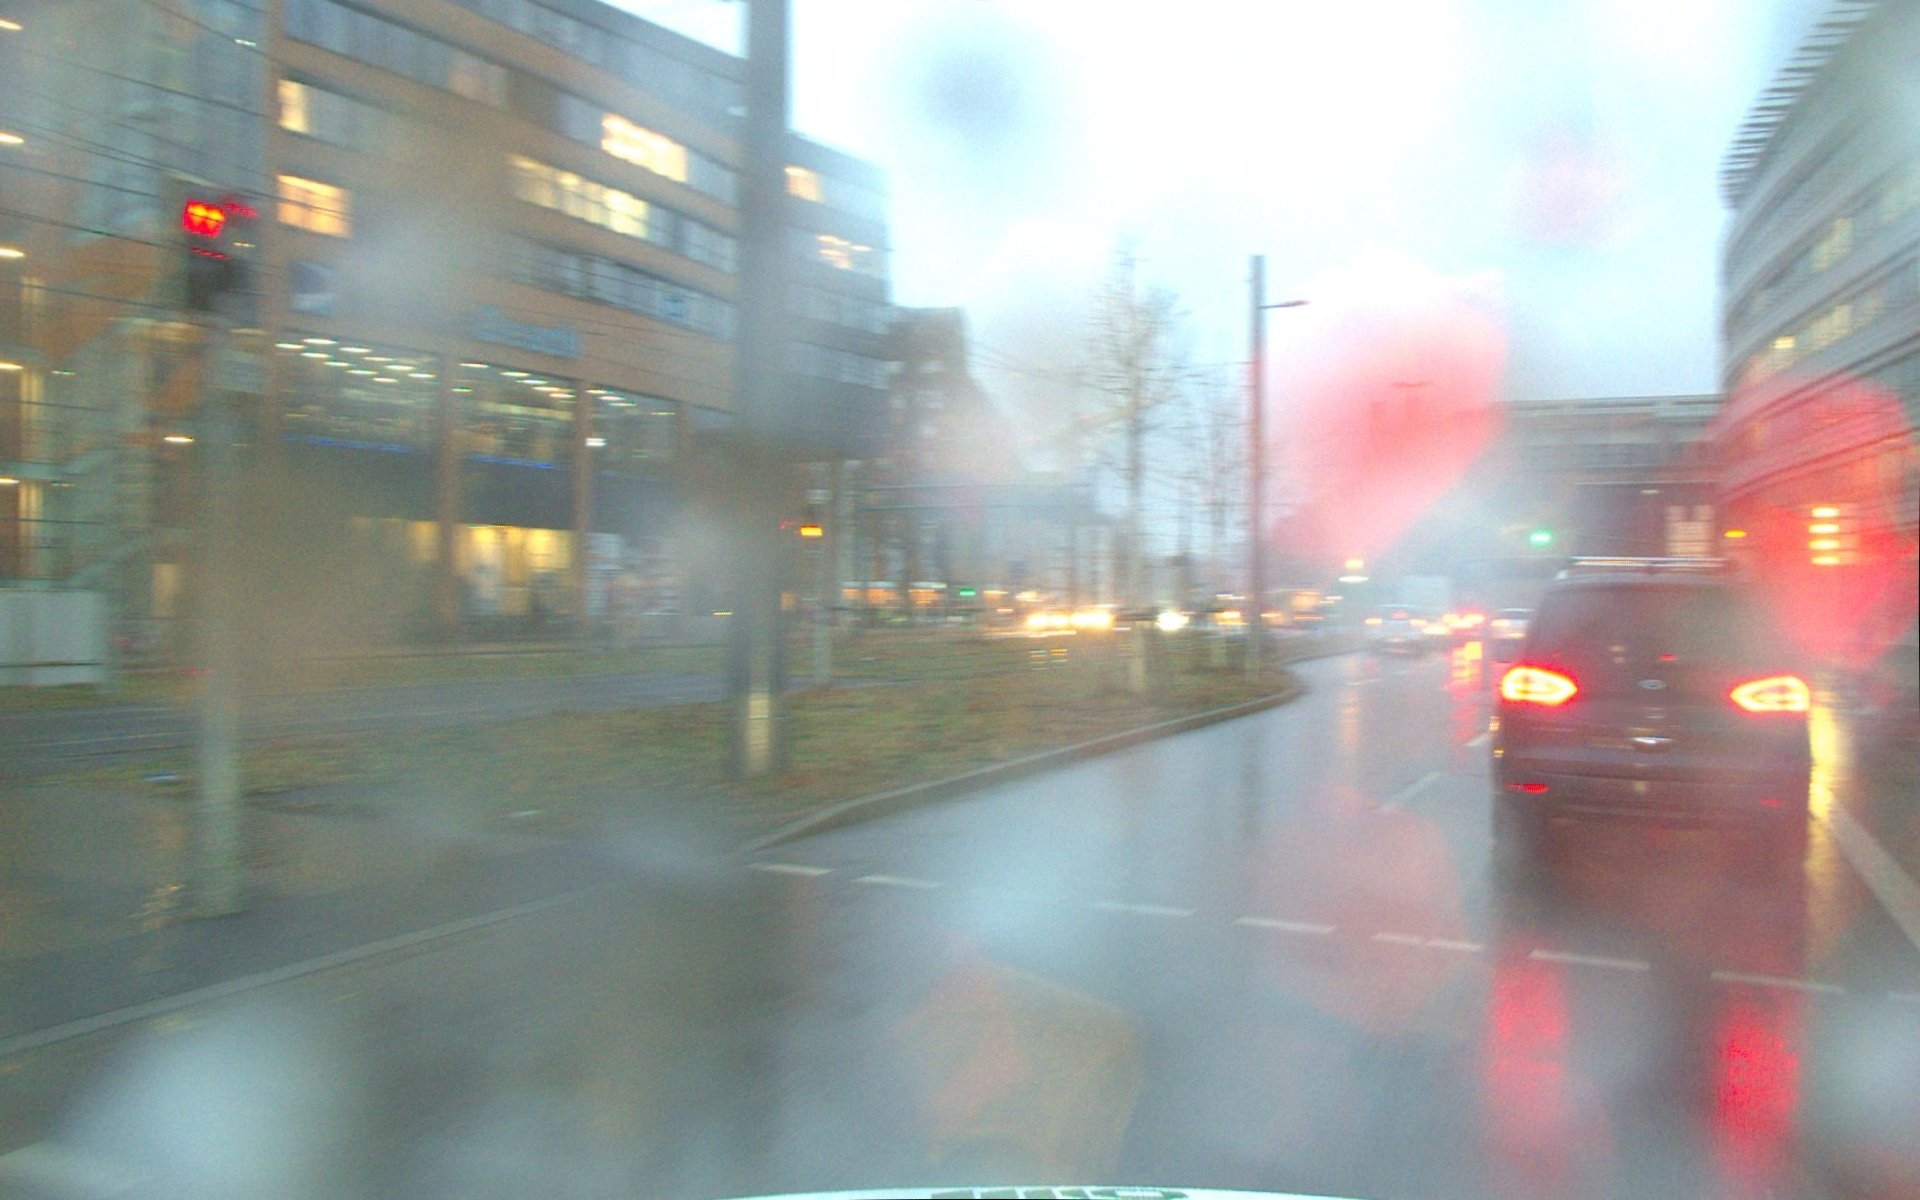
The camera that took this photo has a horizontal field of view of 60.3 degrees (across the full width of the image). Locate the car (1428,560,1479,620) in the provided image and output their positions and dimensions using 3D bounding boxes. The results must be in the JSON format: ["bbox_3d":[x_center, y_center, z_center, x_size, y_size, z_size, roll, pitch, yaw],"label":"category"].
[{"bbox_3d":[24.561,-0.440,82.374,2.305,2.876,6.362,0,0,17],"label":"car"}]

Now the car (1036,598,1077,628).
[{"bbox_3d":[4.930,0.654,83.790,1.776,1.467,3.959,0,0,8],"label":"car"}]

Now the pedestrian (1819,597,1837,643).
[{"bbox_3d":[32.547,0.762,62.022,0.520,1.712,0.745,0,-1,19],"label":"pedestrian"}]

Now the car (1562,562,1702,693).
[{"bbox_3d":[10.314,0.389,25.641,1.805,1.837,4.487,0,0,20],"label":"car"}]

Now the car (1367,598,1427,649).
[{"bbox_3d":[13.752,0.698,51.957,1.604,1.522,3.687,0,0,18],"label":"car"}]

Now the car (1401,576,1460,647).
[{"bbox_3d":[17.060,0.404,60.181,1.951,2.470,5.978,0,0,15],"label":"car"}]

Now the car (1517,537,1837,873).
[{"bbox_3d":[4.681,0.572,11.103,1.639,1.811,4.000,0,0,21],"label":"car"}]

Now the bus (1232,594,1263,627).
[{"bbox_3d":[30.739,1.149,177.174,2.763,3.432,8.005,0,0,7],"label":"bus"}]

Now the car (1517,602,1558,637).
[{"bbox_3d":[22.766,0.759,65.173,1.480,1.328,3.041,0,0,20],"label":"car"}]

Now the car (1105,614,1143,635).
[{"bbox_3d":[11.332,1.673,114.126,1.693,1.417,4.200,0,0,19],"label":"car"}]
